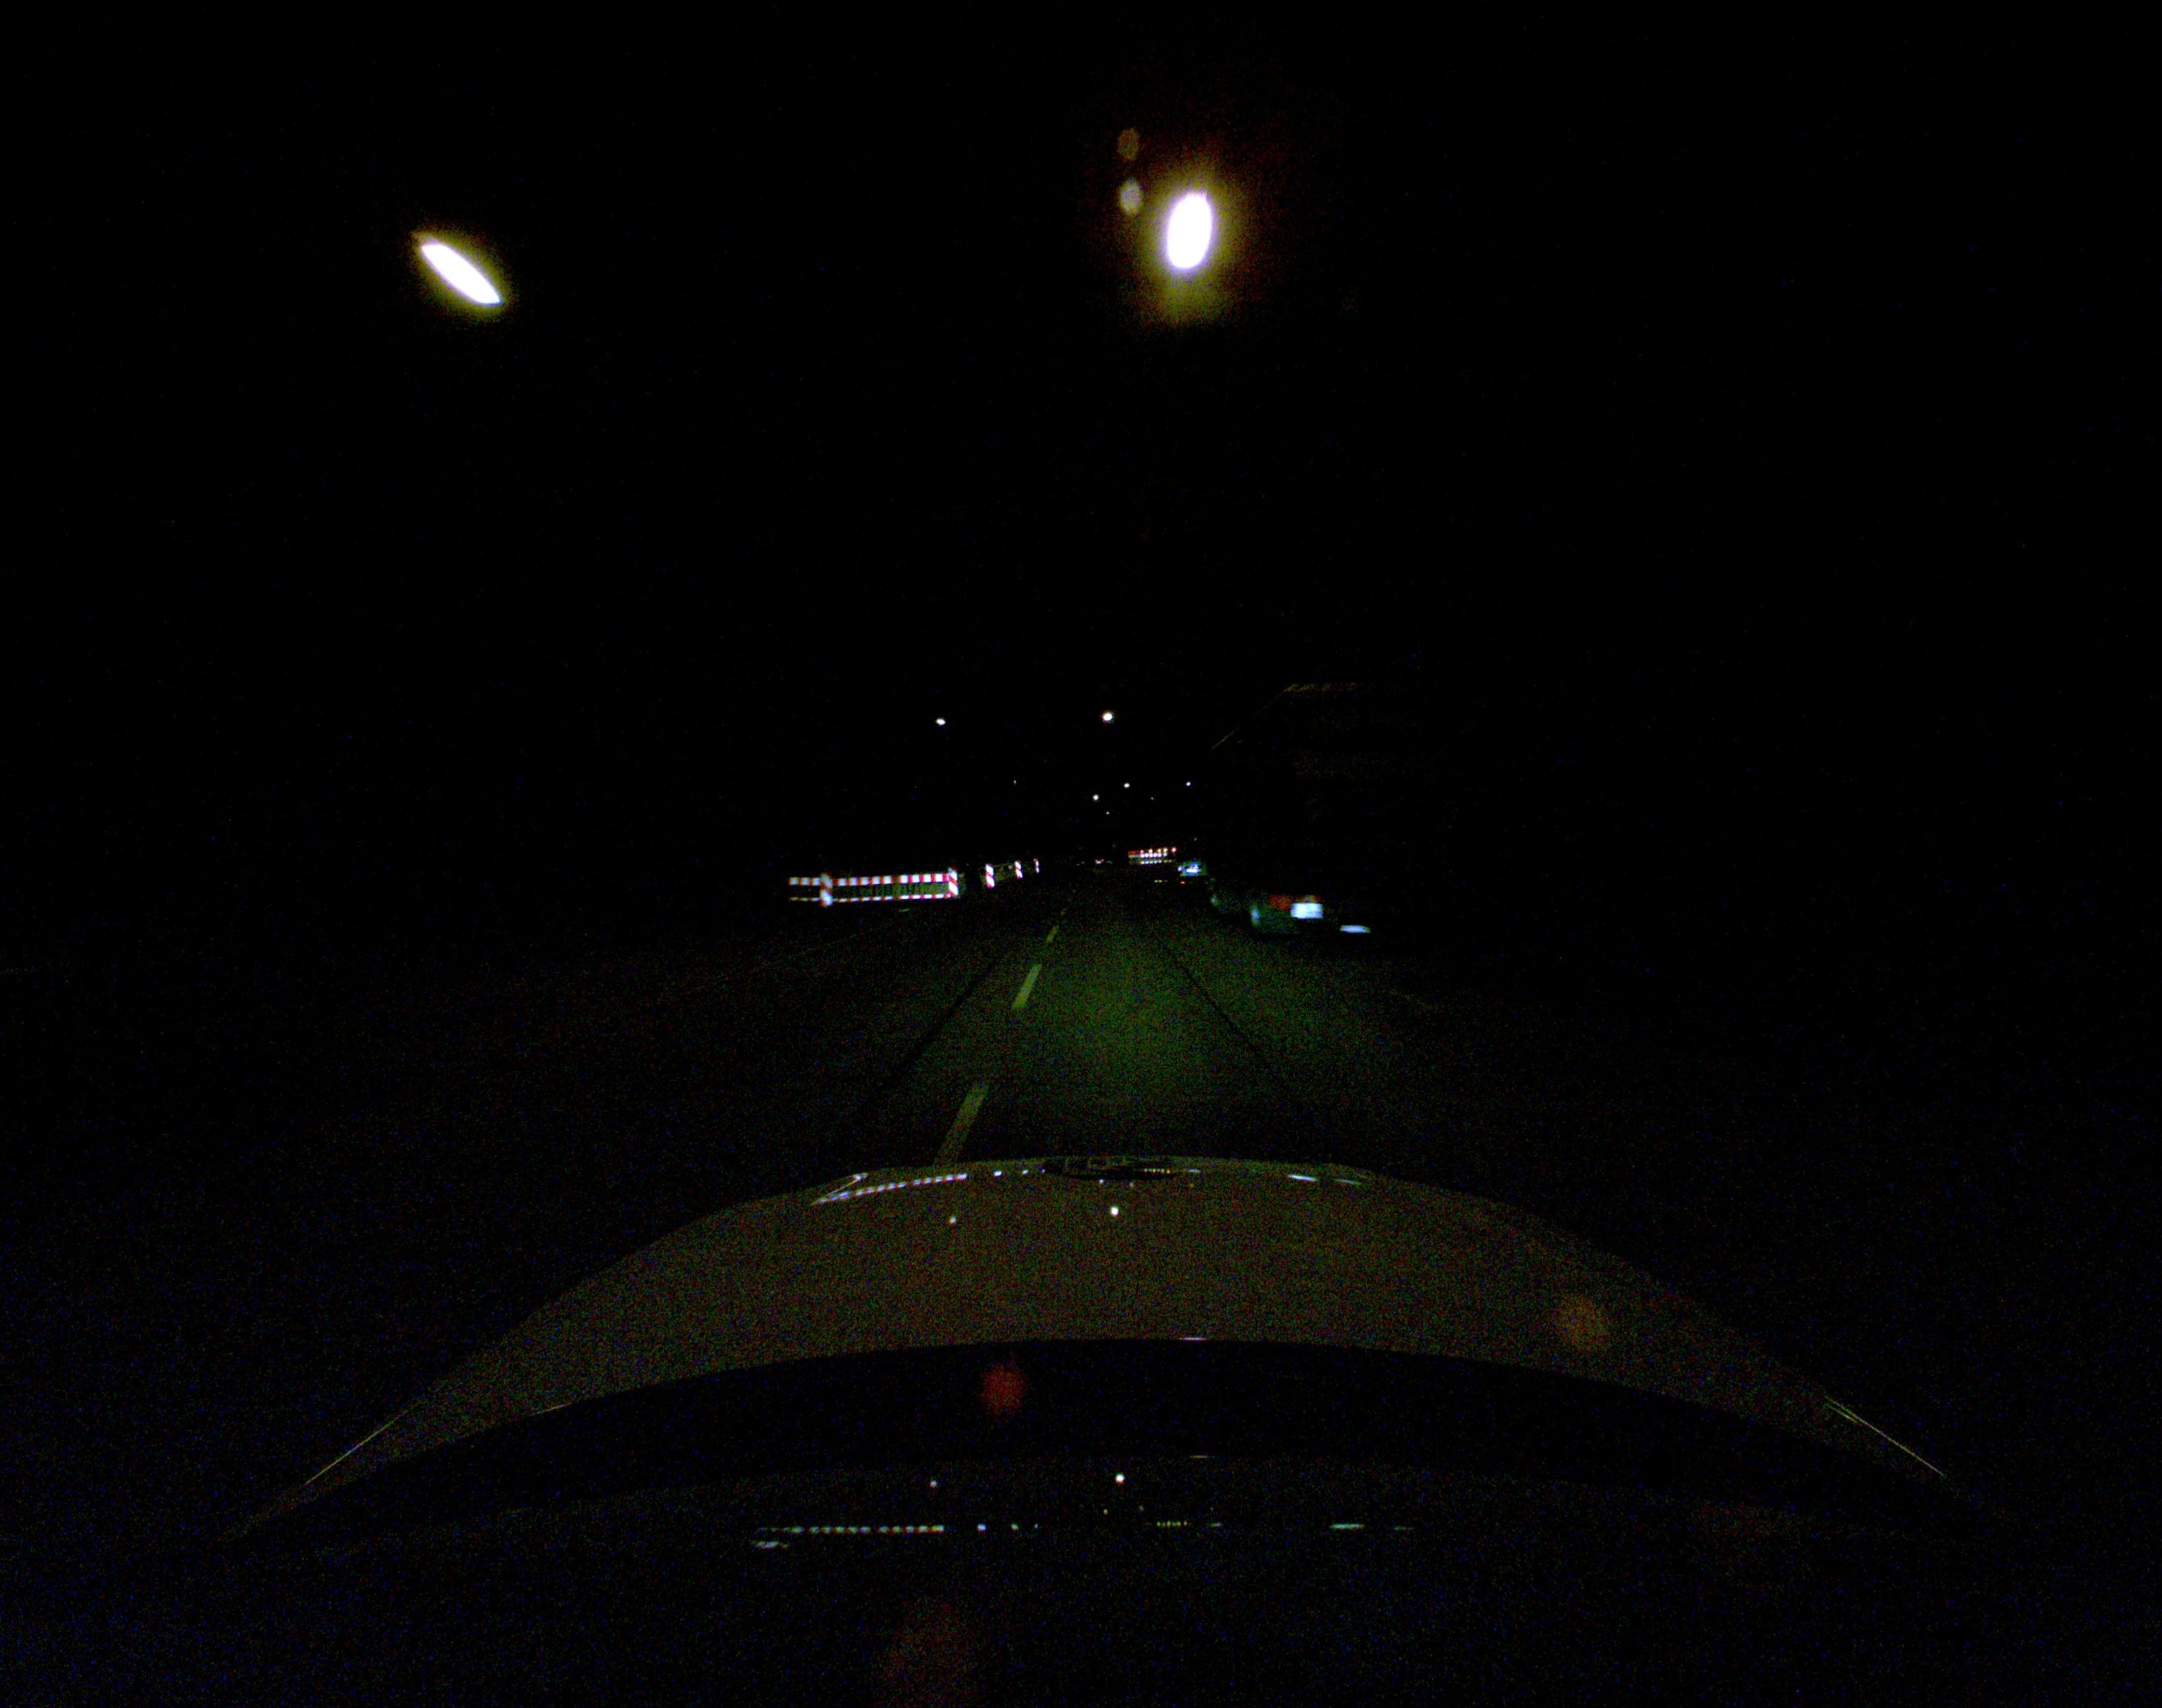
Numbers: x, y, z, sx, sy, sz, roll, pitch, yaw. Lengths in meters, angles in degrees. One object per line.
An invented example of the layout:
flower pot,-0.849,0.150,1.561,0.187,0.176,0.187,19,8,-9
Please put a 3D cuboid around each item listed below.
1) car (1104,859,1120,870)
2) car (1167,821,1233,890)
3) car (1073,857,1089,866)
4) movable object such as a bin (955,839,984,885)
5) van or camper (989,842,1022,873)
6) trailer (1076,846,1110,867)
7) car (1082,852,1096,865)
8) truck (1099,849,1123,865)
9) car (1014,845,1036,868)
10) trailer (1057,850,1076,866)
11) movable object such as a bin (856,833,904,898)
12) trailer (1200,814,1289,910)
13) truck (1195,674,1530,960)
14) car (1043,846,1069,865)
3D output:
car,5.164,1.807,136.443,1.707,1.821,4.017,-1,-1,16
car,4.761,0.031,33.385,2.099,2.516,6.377,-1,0,3
car,0.075,1.558,160.658,1.978,1.699,4.223,-1,-1,16
movable object such as a bin,-7.140,0.501,52.411,1.569,2.734,3.693,-4,1,-6
van or camper,-8.255,0.414,90.167,2.509,3.094,7.448,-3,-1,2
trailer,1.382,0.304,93.055,1.568,2.160,5.175,-3,-1,-27
car,1.091,0.615,108.020,1.714,1.661,4.001,-1,-1,1
truck,6.676,0.556,178.792,1.975,3.404,9.031,-1,0,24
car,-7.852,0.415,114.714,2.511,2.927,7.198,-3,-1,-1
trailer,-2.654,0.732,149.337,1.979,2.813,4.722,-2,0,15
movable object such as a bin,-8.247,0.463,33.284,1.554,2.467,2.820,-3,-1,-20
trailer,4.624,0.184,23.746,1.626,2.473,5.028,-1,0,1
truck,4.504,-0.491,15.813,3.313,3.868,9.328,-1,0,1
car,-4.328,0.281,143.304,2.501,3.171,7.165,-4,-1,14
